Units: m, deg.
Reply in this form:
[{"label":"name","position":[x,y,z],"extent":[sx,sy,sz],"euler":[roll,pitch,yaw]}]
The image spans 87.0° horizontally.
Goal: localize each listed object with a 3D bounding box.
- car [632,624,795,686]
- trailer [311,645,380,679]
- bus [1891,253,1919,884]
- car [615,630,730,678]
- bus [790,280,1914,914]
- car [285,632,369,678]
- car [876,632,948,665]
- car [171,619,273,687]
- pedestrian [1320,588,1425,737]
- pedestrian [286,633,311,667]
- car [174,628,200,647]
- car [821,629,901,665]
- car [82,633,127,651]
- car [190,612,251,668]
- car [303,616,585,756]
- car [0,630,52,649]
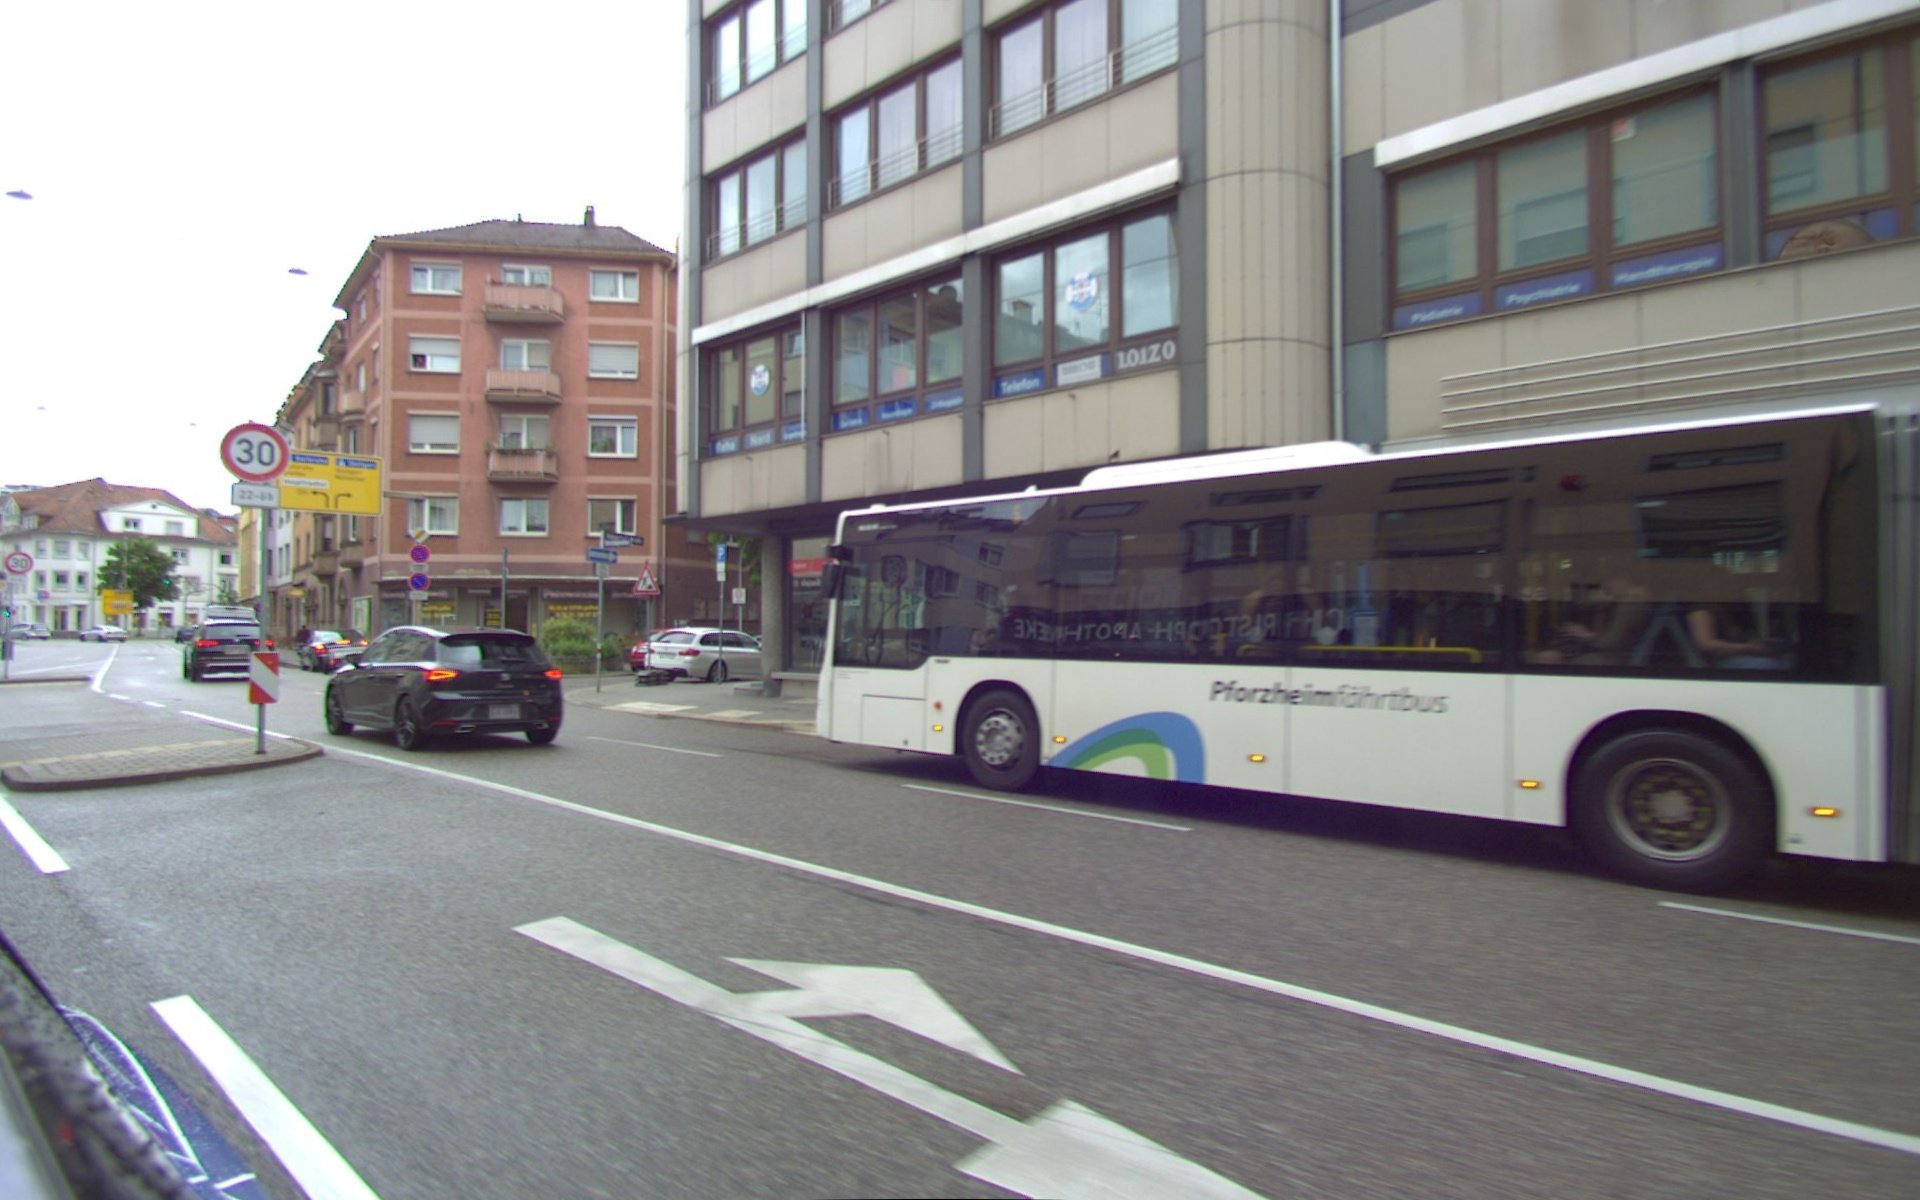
[{"label":"car","position":[-6.620,1.444,27.775],"extent":[1.895,1.544,4.604],"euler":[0,-2,25]},{"label":"trailer","position":[-20.049,1.985,32.972],"extent":[1.567,0.956,3.062],"euler":[0,-1,-38]},{"label":"bus","position":[9.177,-0.157,3.032],"extent":[9.290,3.213,2.696],"euler":[-1,-2,42]},{"label":"car","position":[-9.607,1.769,33.998],"extent":[1.688,1.494,3.488],"euler":[0,-2,32]},{"label":"bus","position":[2.381,0.043,9.125],"extent":[8.909,3.213,2.729],"euler":[-1,-2,42]},{"label":"car","position":[-22.586,1.904,36.013],"extent":[1.827,1.408,4.800],"euler":[-2,0,-40]},{"label":"car","position":[-2.273,2.281,48.541],"extent":[1.689,1.494,3.486],"euler":[0,-2,34]},{"label":"car","position":[-19.958,1.394,27.295],"extent":[1.722,1.674,4.422],"euler":[2,-3,-42]},{"label":"pedestrian","position":[4.700,0.685,11.529],"extent":[0.835,1.601,0.934],"euler":[-1,-2,44]},{"label":"pedestrian","position":[-34.409,2.605,52.663],"extent":[0.852,1.691,0.834],"euler":[-1,1,38]},{"label":"car","position":[-68.265,3.287,89.367],"extent":[1.731,1.664,4.315],"euler":[2,-2,-38]},{"label":"car","position":[-4.354,2.063,44.905],"extent":[1.689,1.494,3.486],"euler":[0,-2,34]},{"label":"car","position":[-75.092,3.644,88.783],"extent":[4.549,1.481,1.926],"euler":[0,-2,35]},{"label":"car","position":[-34.853,1.837,47.595],"extent":[2.059,2.454,6.365],"euler":[2,-2,-38]},{"label":"car","position":[-6.512,0.941,12.588],"extent":[4.083,1.462,1.691],"euler":[-1,-2,41]},{"label":"car","position":[-85.632,3.595,92.128],"extent":[4.467,1.595,1.945],"euler":[0,-2,7]}]
